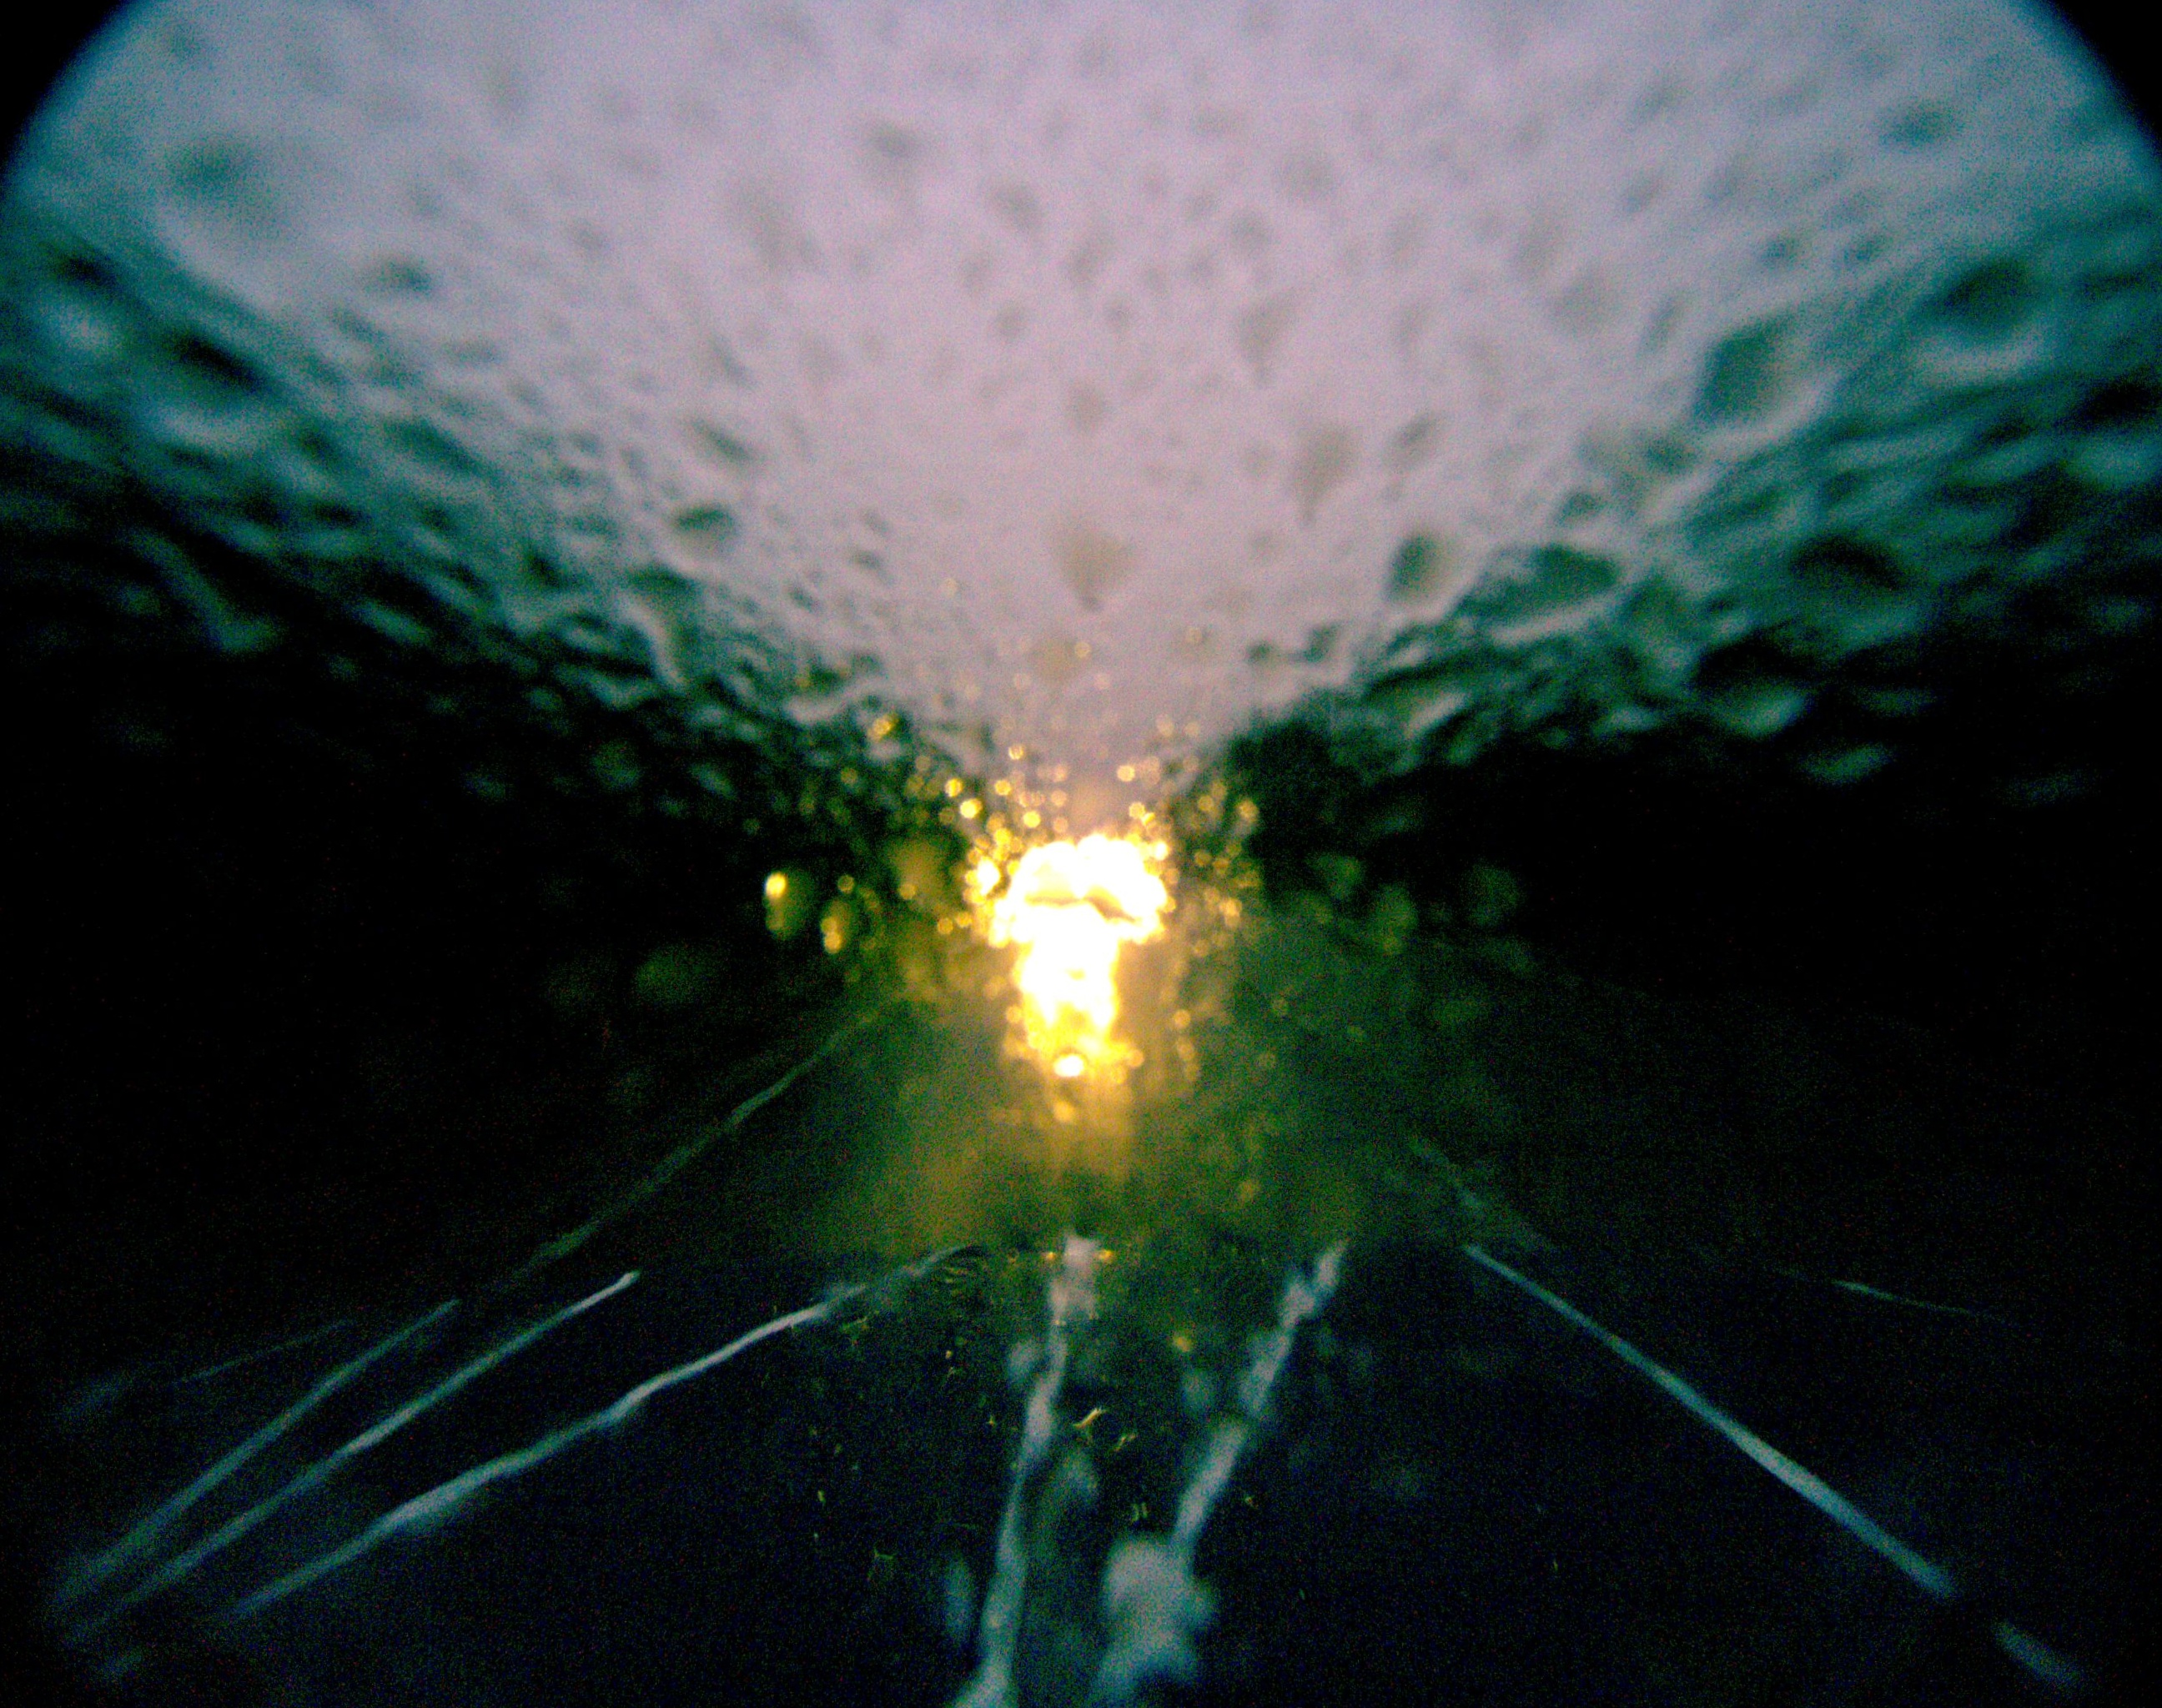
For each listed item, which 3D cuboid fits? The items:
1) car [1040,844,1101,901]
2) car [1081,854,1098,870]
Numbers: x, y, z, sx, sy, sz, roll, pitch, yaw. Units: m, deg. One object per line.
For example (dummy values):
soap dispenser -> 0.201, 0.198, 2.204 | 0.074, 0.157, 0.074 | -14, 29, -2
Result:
car -> -0.255, 0.550, 25.117 | 1.572, 1.701, 4.001 | -1, 1, 5
car -> 1.038, 0.983, 92.436 | 1.998, 1.752, 4.371 | -1, 1, 1
